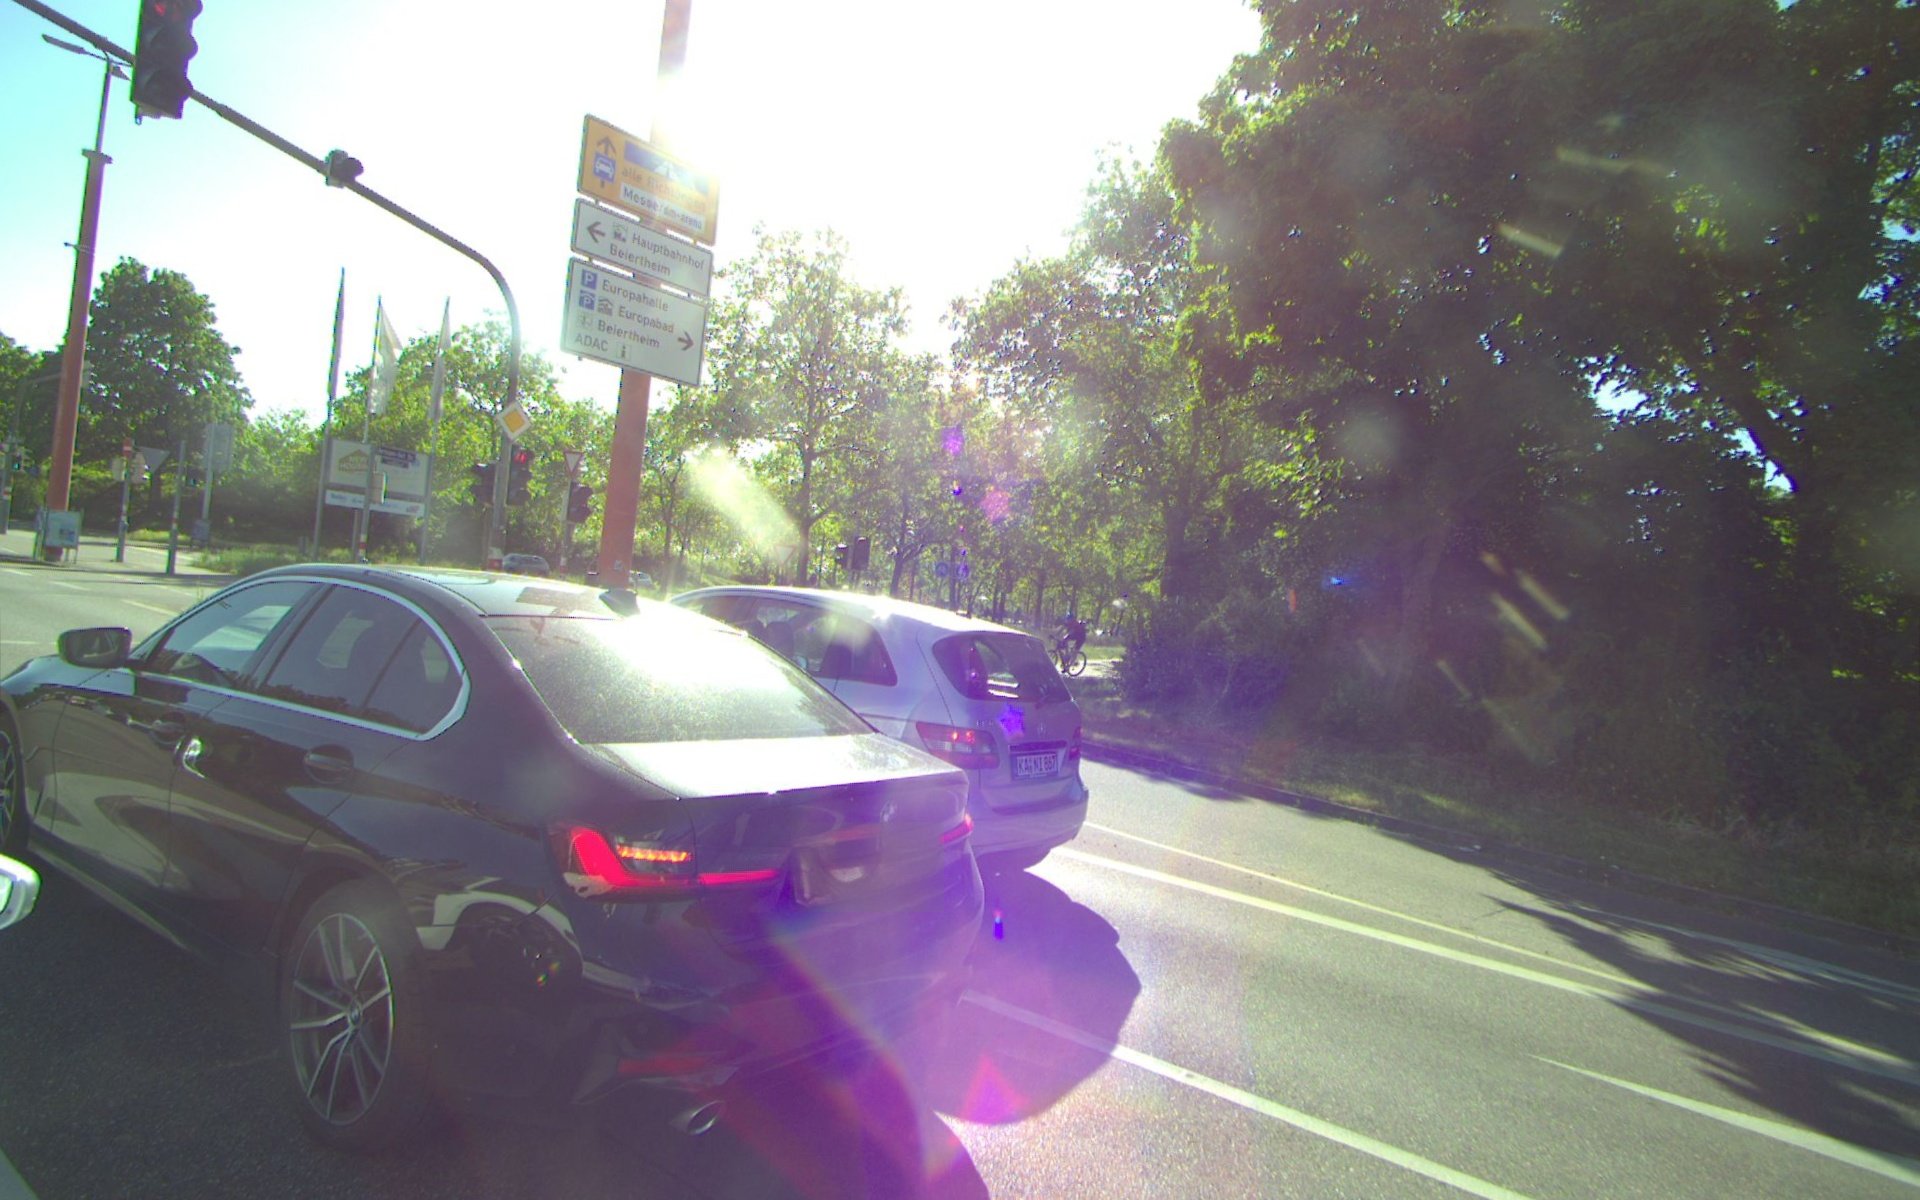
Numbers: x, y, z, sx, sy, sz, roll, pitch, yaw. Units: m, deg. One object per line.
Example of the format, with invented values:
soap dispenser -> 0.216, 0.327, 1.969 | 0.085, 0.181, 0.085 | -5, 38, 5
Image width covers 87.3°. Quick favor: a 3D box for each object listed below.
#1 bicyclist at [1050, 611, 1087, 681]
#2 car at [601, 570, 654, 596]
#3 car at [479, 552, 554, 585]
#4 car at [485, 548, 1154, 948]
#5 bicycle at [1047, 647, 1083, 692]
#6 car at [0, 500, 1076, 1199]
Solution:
bicyclist -> 2.887, 1.215, 26.689 | 0.722, 1.763, 0.997 | 7, 0, 8
car -> -24.655, -1.251, 74.741 | 1.652, 1.485, 3.997 | 7, -1, 15
car -> -27.497, -1.922, 62.525 | 1.751, 1.503, 4.331 | 7, -1, 17
car -> -1.019, 0.705, 6.490 | 3.963, 1.597, 1.741 | 7, 0, 33
bicycle -> 2.818, 1.832, 26.889 | 0.709, 1.070, 1.833 | 7, -1, 11
car -> -2.001, 0.542, 3.836 | 4.371, 1.415, 1.871 | 7, 0, 33
